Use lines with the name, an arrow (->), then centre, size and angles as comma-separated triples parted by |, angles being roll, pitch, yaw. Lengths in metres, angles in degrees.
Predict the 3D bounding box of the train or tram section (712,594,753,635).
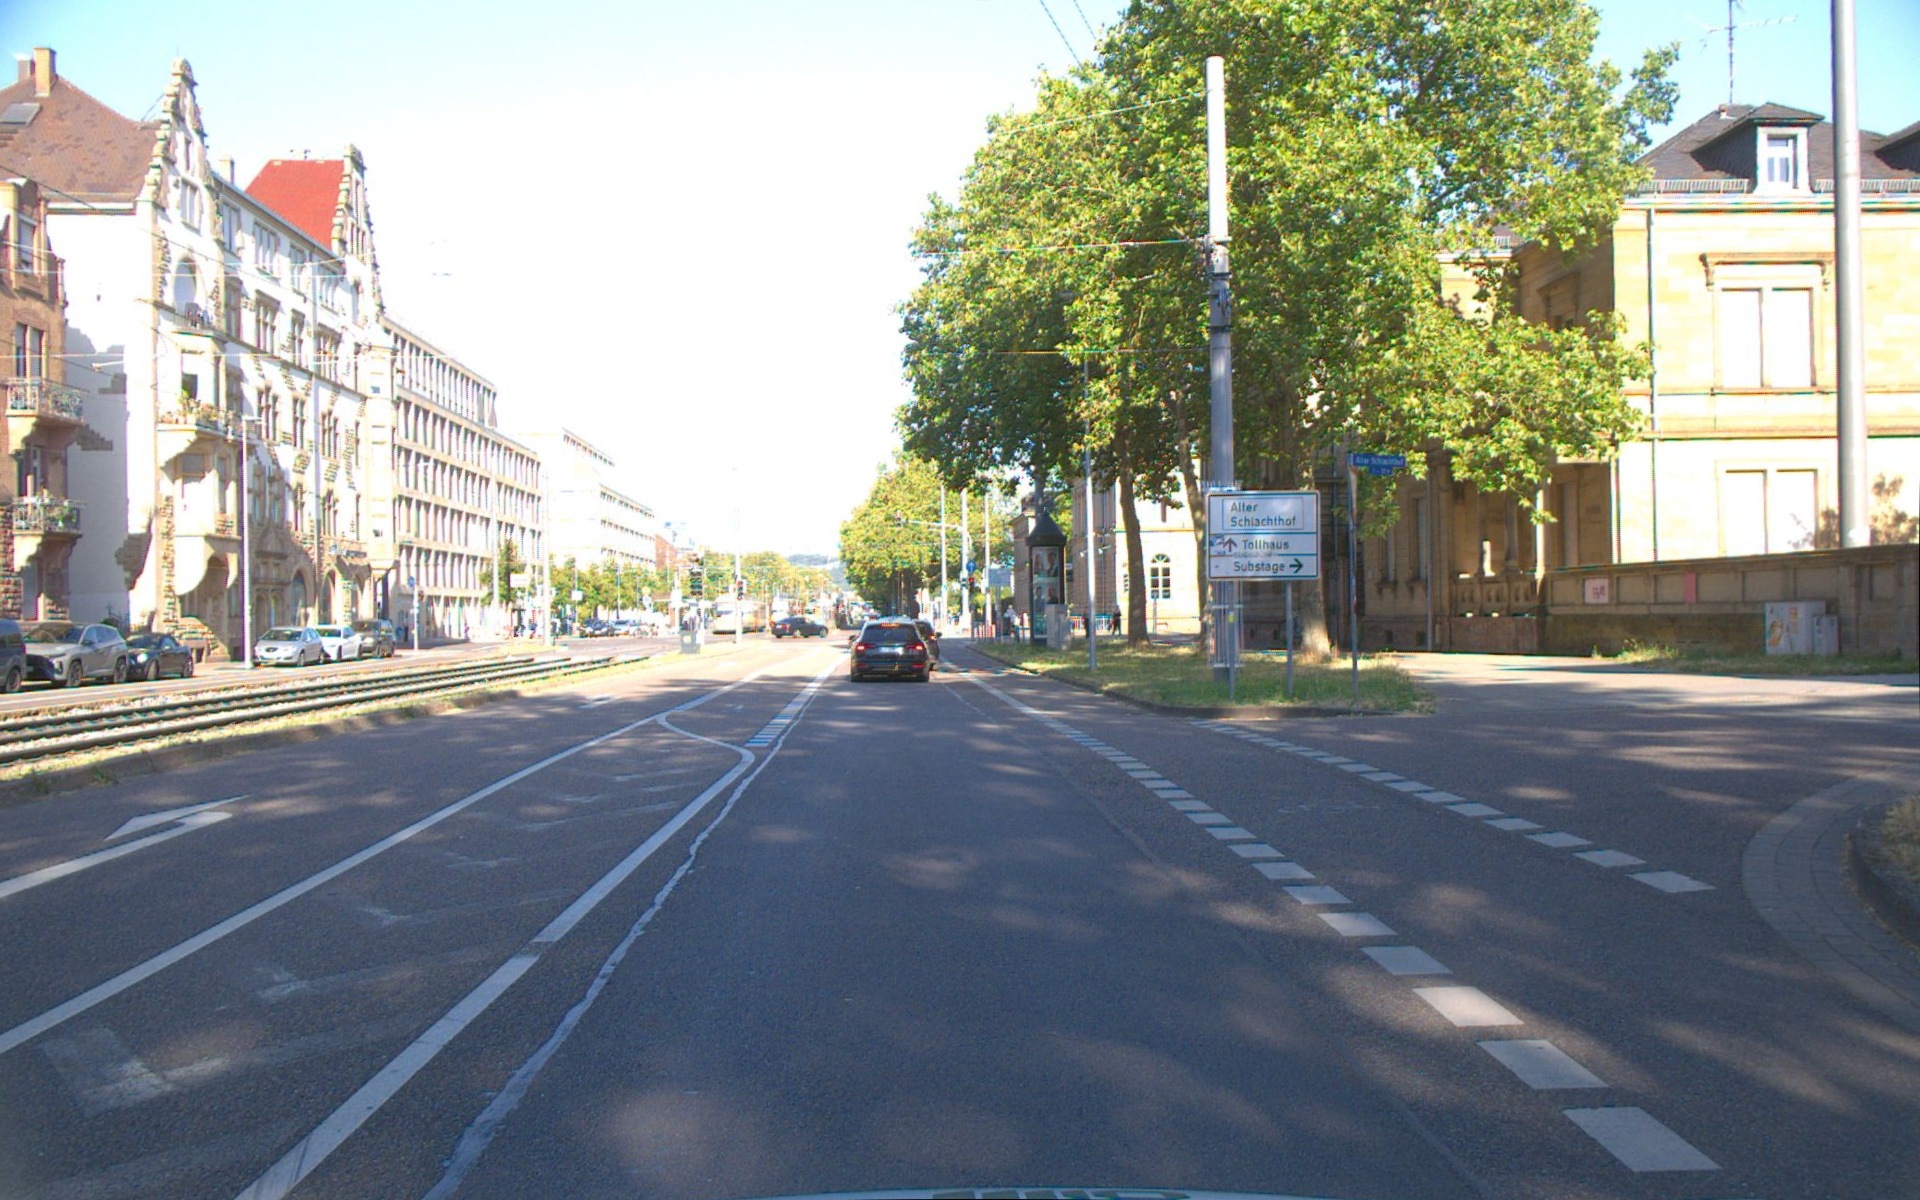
train or tram section -> -20.538, 1.335, 149.678 | 2.769, 3.511, 9.058 | -1, -1, -3

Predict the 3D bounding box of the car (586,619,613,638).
car -> -30.236, 2.390, 138.747 | 1.759, 1.537, 3.995 | -1, -1, -5

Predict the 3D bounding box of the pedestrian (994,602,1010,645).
pedestrian -> 1.743, 0.987, 69.017 | 0.575, 1.759, 0.650 | 0, -1, 9

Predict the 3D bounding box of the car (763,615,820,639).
car -> -11.403, 1.830, 112.330 | 1.762, 1.537, 3.989 | 0, -2, 32

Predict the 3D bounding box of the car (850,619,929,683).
car -> -1.739, 1.182, 39.730 | 1.797, 1.415, 4.155 | -1, -1, -4

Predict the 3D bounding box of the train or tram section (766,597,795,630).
train or tram section -> -19.585, 1.473, 180.635 | 2.770, 3.511, 9.054 | -1, -1, -5

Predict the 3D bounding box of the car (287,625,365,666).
car -> -25.531, 1.807, 66.713 | 1.759, 1.537, 4.181 | 2, -1, -4

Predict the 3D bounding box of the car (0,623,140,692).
car -> -23.754, 1.505, 44.259 | 1.653, 1.681, 4.196 | 2, -1, -3

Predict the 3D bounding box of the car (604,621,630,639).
car -> -30.127, 2.649, 145.512 | 1.759, 1.537, 3.995 | -1, -1, -5

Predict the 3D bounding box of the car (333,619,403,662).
car -> -25.916, 1.736, 72.528 | 1.759, 1.749, 4.181 | 2, -1, -4

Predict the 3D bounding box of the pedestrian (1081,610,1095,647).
pedestrian -> 6.161, 1.373, 79.457 | 0.575, 1.759, 0.650 | 0, -1, 9

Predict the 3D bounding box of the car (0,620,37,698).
car -> -23.386, 1.364, 38.052 | 1.757, 1.784, 4.454 | 2, -1, 0

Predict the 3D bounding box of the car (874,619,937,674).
car -> -1.636, 1.343, 49.051 | 1.758, 1.537, 3.998 | -1, -1, -3

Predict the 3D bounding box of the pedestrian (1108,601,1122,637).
pedestrian -> 7.469, 0.908, 79.515 | 0.575, 1.759, 0.650 | 0, -1, 11

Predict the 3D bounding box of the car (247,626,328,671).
car -> -24.952, 1.780, 61.518 | 1.760, 1.537, 3.993 | 2, -1, -7

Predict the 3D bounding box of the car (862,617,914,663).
car -> -2.556, 1.395, 58.604 | 1.758, 1.537, 3.998 | -1, -1, -3

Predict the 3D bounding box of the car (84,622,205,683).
car -> -24.218, 1.520, 49.301 | 1.653, 1.681, 4.196 | 2, -1, -3
